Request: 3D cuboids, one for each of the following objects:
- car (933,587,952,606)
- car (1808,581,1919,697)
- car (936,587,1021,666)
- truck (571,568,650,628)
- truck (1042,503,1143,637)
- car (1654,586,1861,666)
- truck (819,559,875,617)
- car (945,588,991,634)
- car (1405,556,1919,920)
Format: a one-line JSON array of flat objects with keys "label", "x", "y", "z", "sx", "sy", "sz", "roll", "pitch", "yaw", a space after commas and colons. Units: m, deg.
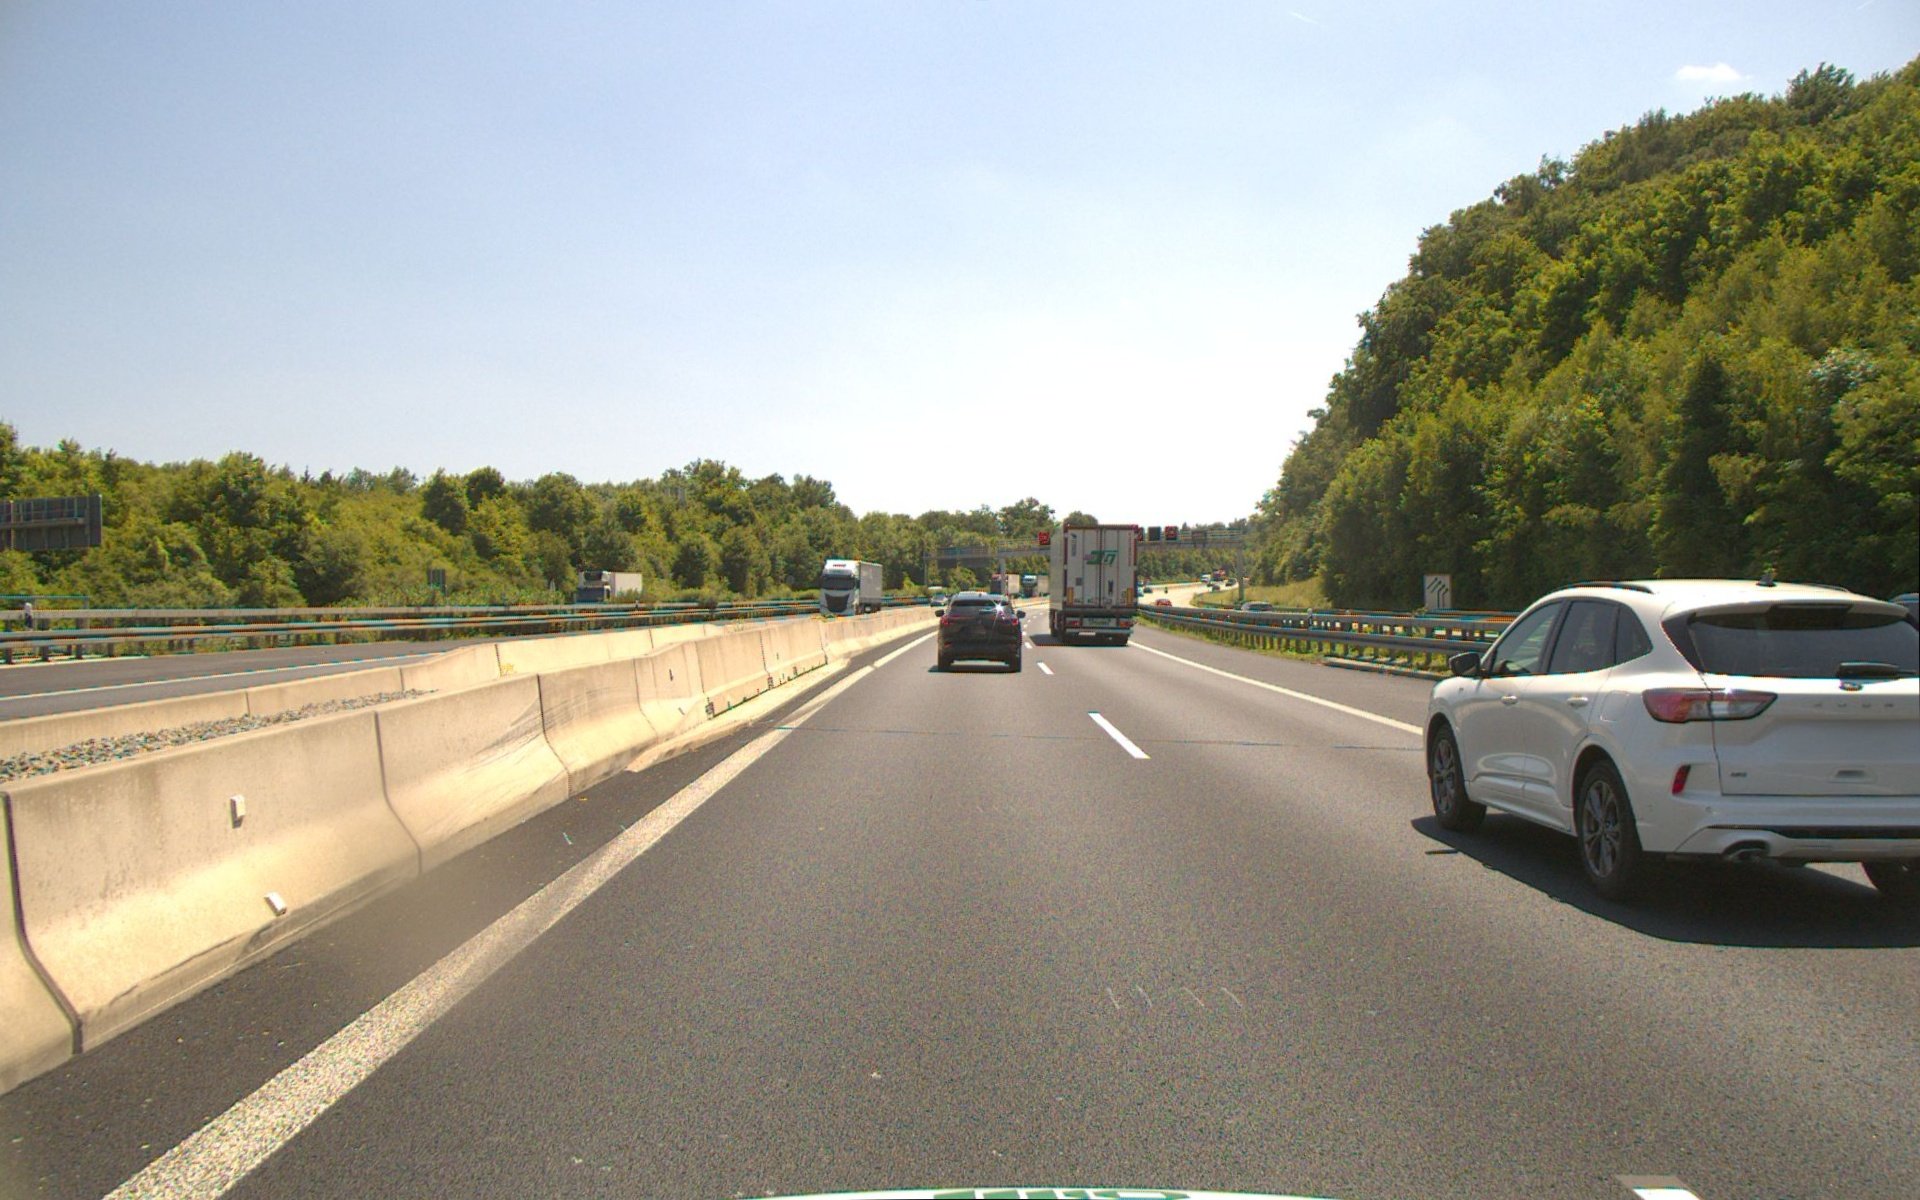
[{"label": "car", "x": -1.918, "y": -0.419, "z": 182.309, "sx": 1.954, "sy": 2.049, "sz": 3.998, "roll": 0, "pitch": 0, "yaw": -3}, {"label": "car", "x": 14.892, "y": 0.569, "z": 24.170, "sx": 1.953, "sy": 1.691, "sz": 5.624, "roll": 0, "pitch": -1, "yaw": -2}, {"label": "car", "x": 0.440, "y": 0.571, "z": 35.796, "sx": 1.742, "sy": 1.605, "sz": 4.001, "roll": 0, "pitch": -1, "yaw": 2}, {"label": "truck", "x": -24.667, "y": -0.061, "z": 117.283, "sx": 2.641, "sy": 4.029, "sz": 10.781, "roll": 0, "pitch": -1, "yaw": 4}, {"label": "truck", "x": 4.758, "y": -0.938, "z": 61.714, "sx": 2.969, "sy": 4.496, "sz": 12.019, "roll": 0, "pitch": -1, "yaw": 1}, {"label": "car", "x": 18.071, "y": 0.552, "z": 37.803, "sx": 1.954, "sy": 1.691, "sz": 5.224, "roll": 0, "pitch": 0, "yaw": -3}, {"label": "truck", "x": -8.204, "y": -0.762, "z": 121.108, "sx": 2.641, "sy": 4.029, "sz": 10.781, "roll": 0, "pitch": -1, "yaw": 4}, {"label": "car", "x": 0.374, "y": 0.531, "z": 80.059, "sx": 1.954, "sy": 2.048, "sz": 3.998, "roll": -3, "pitch": 0, "yaw": -2}, {"label": "car", "x": 4.282, "y": 0.665, "z": 9.939, "sx": 1.953, "sy": 1.691, "sz": 4.467, "roll": 0, "pitch": -1, "yaw": -1}]
